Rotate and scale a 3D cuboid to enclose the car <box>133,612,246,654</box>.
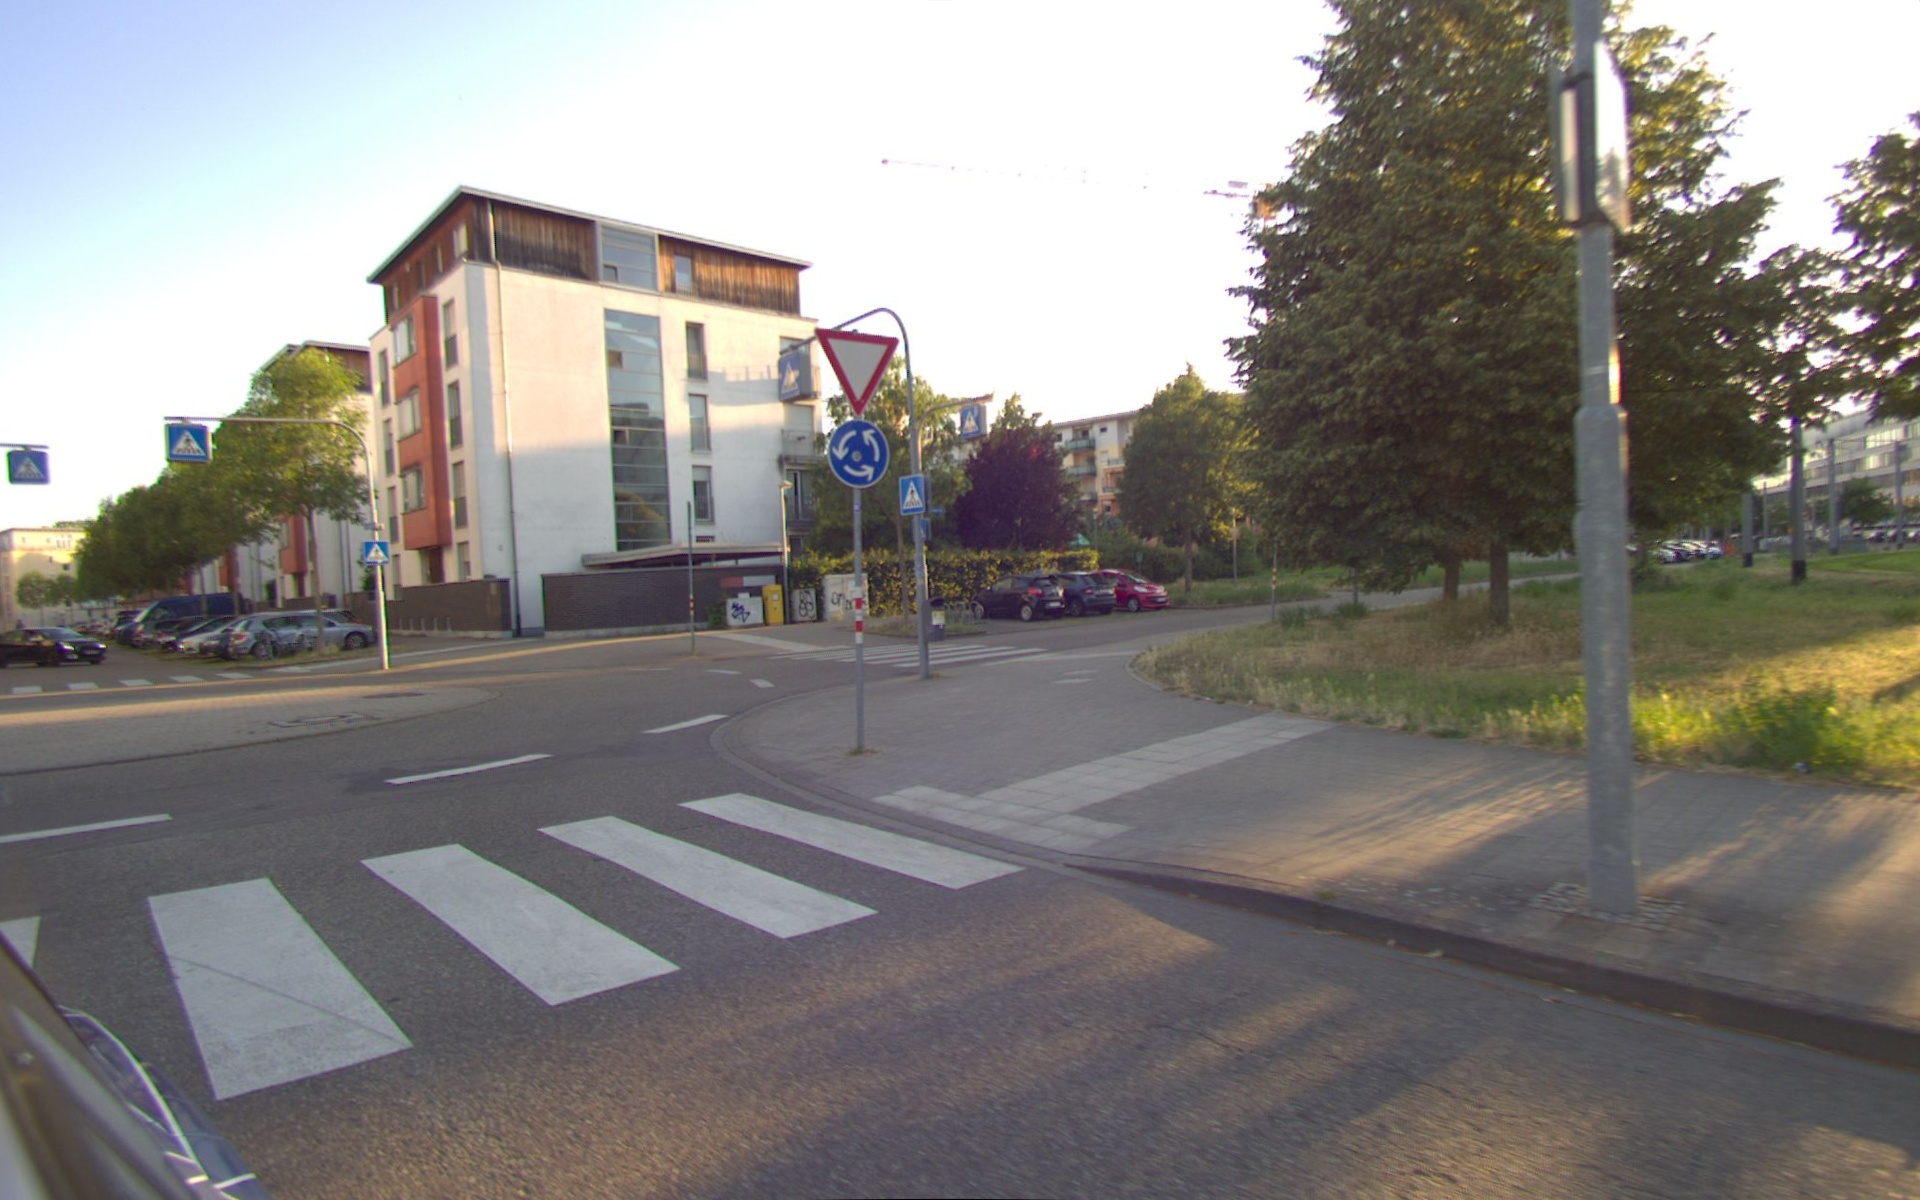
[{"bbox_3d":[-37.189,1.582,48.938,1.724,1.637,4.047,-2,2,43],"label":"car"}]

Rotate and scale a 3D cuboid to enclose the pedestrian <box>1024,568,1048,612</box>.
[{"bbox_3d":[2.880,-0.382,38.185,0.652,1.611,0.708,-3,3,21],"label":"pedestrian"}]

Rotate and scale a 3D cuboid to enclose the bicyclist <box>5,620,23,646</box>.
[{"bbox_3d":[-61.043,2.140,65.284,0.756,1.639,0.663,-4,1,-44],"label":"bicyclist"}]

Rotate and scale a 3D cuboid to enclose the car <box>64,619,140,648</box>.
[{"bbox_3d":[-62.853,2.420,74.179,4.191,2.018,1.694,0,-2,-44],"label":"car"}]

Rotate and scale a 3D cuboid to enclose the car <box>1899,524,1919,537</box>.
[{"bbox_3d":[127.901,-9.348,134.958,1.627,1.625,3.809,-4,1,-43],"label":"car"}]

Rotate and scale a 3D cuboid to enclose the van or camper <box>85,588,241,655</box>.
[{"bbox_3d":[-43.221,1.090,55.045,2.442,3.109,6.230,-2,2,43],"label":"van or camper"}]

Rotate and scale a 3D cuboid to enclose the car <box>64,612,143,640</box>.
[{"bbox_3d":[-61.267,1.840,72.432,4.191,1.945,1.694,0,-2,-44],"label":"car"}]

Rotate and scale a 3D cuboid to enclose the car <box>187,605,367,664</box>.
[{"bbox_3d":[-23.507,1.154,34.967,1.712,1.489,4.848,-3,3,45],"label":"car"}]

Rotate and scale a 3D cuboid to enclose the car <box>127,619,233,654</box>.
[{"bbox_3d":[-39.588,1.853,51.433,1.724,1.638,4.046,-2,-2,43],"label":"car"}]

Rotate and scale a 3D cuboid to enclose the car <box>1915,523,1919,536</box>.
[{"bbox_3d":[123.026,-8.984,127.522,1.627,1.625,3.809,-4,1,-43],"label":"car"}]

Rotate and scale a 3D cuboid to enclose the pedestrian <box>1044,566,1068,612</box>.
[{"bbox_3d":[3.628,-0.417,38.039,0.620,1.679,0.738,-3,3,22],"label":"pedestrian"}]

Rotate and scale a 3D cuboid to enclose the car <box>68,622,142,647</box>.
[{"bbox_3d":[-64.390,2.576,76.226,4.191,1.800,1.694,0,-2,-44],"label":"car"}]

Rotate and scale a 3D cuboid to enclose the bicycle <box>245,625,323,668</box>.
[{"bbox_3d":[-20.407,1.391,30.581,0.567,1.074,1.797,-3,4,44],"label":"bicycle"}]

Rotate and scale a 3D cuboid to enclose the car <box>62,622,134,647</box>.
[{"bbox_3d":[-67.348,2.681,79.100,4.191,1.800,1.694,0,-2,-44],"label":"car"}]

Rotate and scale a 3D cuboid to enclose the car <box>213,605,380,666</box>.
[{"bbox_3d":[-21.682,1.135,33.164,1.681,1.468,4.233,-3,3,45],"label":"car"}]

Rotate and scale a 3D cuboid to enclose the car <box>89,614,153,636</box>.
[{"bbox_3d":[-71.444,2.139,86.205,4.189,1.800,1.695,0,-2,-42],"label":"car"}]

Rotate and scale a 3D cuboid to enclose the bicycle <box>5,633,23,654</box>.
[{"bbox_3d":[-60.993,2.817,65.270,0.761,1.276,1.783,-4,1,-44],"label":"bicycle"}]

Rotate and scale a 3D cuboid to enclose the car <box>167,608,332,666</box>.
[{"bbox_3d":[-25.784,1.296,36.836,4.714,1.566,1.714,-6,3,-39],"label":"car"}]

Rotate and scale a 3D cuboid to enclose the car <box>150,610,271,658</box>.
[{"bbox_3d":[-32.316,1.448,43.685,1.724,1.723,3.867,-2,2,43],"label":"car"}]

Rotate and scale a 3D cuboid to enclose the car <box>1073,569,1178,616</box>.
[{"bbox_3d":[5.853,-0.256,35.988,1.570,1.511,3.416,-4,2,-41],"label":"car"}]

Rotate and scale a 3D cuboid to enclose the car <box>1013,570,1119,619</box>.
[{"bbox_3d":[3.573,-0.173,34.577,1.570,1.511,3.416,-4,2,-41],"label":"car"}]

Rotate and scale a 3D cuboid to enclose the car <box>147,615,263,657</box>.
[{"bbox_3d":[-33.988,1.583,45.617,1.724,1.526,3.867,-2,2,43],"label":"car"}]

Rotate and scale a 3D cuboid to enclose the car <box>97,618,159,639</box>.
[{"bbox_3d":[-74.419,2.565,90.566,4.189,1.800,1.695,0,-2,-42],"label":"car"}]

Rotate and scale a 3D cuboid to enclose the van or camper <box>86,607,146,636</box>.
[{"bbox_3d":[-78.201,1.995,93.771,4.189,2.554,1.763,0,-2,-42],"label":"van or camper"}]

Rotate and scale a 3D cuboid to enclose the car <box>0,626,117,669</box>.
[{"bbox_3d":[-33.839,1.769,37.549,4.133,1.474,1.772,-2,-1,11],"label":"car"}]

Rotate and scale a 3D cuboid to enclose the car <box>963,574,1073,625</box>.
[{"bbox_3d":[1.866,-0.019,33.272,1.665,1.533,3.416,-4,2,-41],"label":"car"}]

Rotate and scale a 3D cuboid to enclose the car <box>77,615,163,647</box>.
[{"bbox_3d":[-54.278,1.964,65.446,4.191,1.945,1.694,0,-2,-44],"label":"car"}]

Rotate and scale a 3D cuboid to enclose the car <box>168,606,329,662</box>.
[{"bbox_3d":[-27.201,1.267,38.814,1.759,1.596,4.696,-3,3,43],"label":"car"}]
